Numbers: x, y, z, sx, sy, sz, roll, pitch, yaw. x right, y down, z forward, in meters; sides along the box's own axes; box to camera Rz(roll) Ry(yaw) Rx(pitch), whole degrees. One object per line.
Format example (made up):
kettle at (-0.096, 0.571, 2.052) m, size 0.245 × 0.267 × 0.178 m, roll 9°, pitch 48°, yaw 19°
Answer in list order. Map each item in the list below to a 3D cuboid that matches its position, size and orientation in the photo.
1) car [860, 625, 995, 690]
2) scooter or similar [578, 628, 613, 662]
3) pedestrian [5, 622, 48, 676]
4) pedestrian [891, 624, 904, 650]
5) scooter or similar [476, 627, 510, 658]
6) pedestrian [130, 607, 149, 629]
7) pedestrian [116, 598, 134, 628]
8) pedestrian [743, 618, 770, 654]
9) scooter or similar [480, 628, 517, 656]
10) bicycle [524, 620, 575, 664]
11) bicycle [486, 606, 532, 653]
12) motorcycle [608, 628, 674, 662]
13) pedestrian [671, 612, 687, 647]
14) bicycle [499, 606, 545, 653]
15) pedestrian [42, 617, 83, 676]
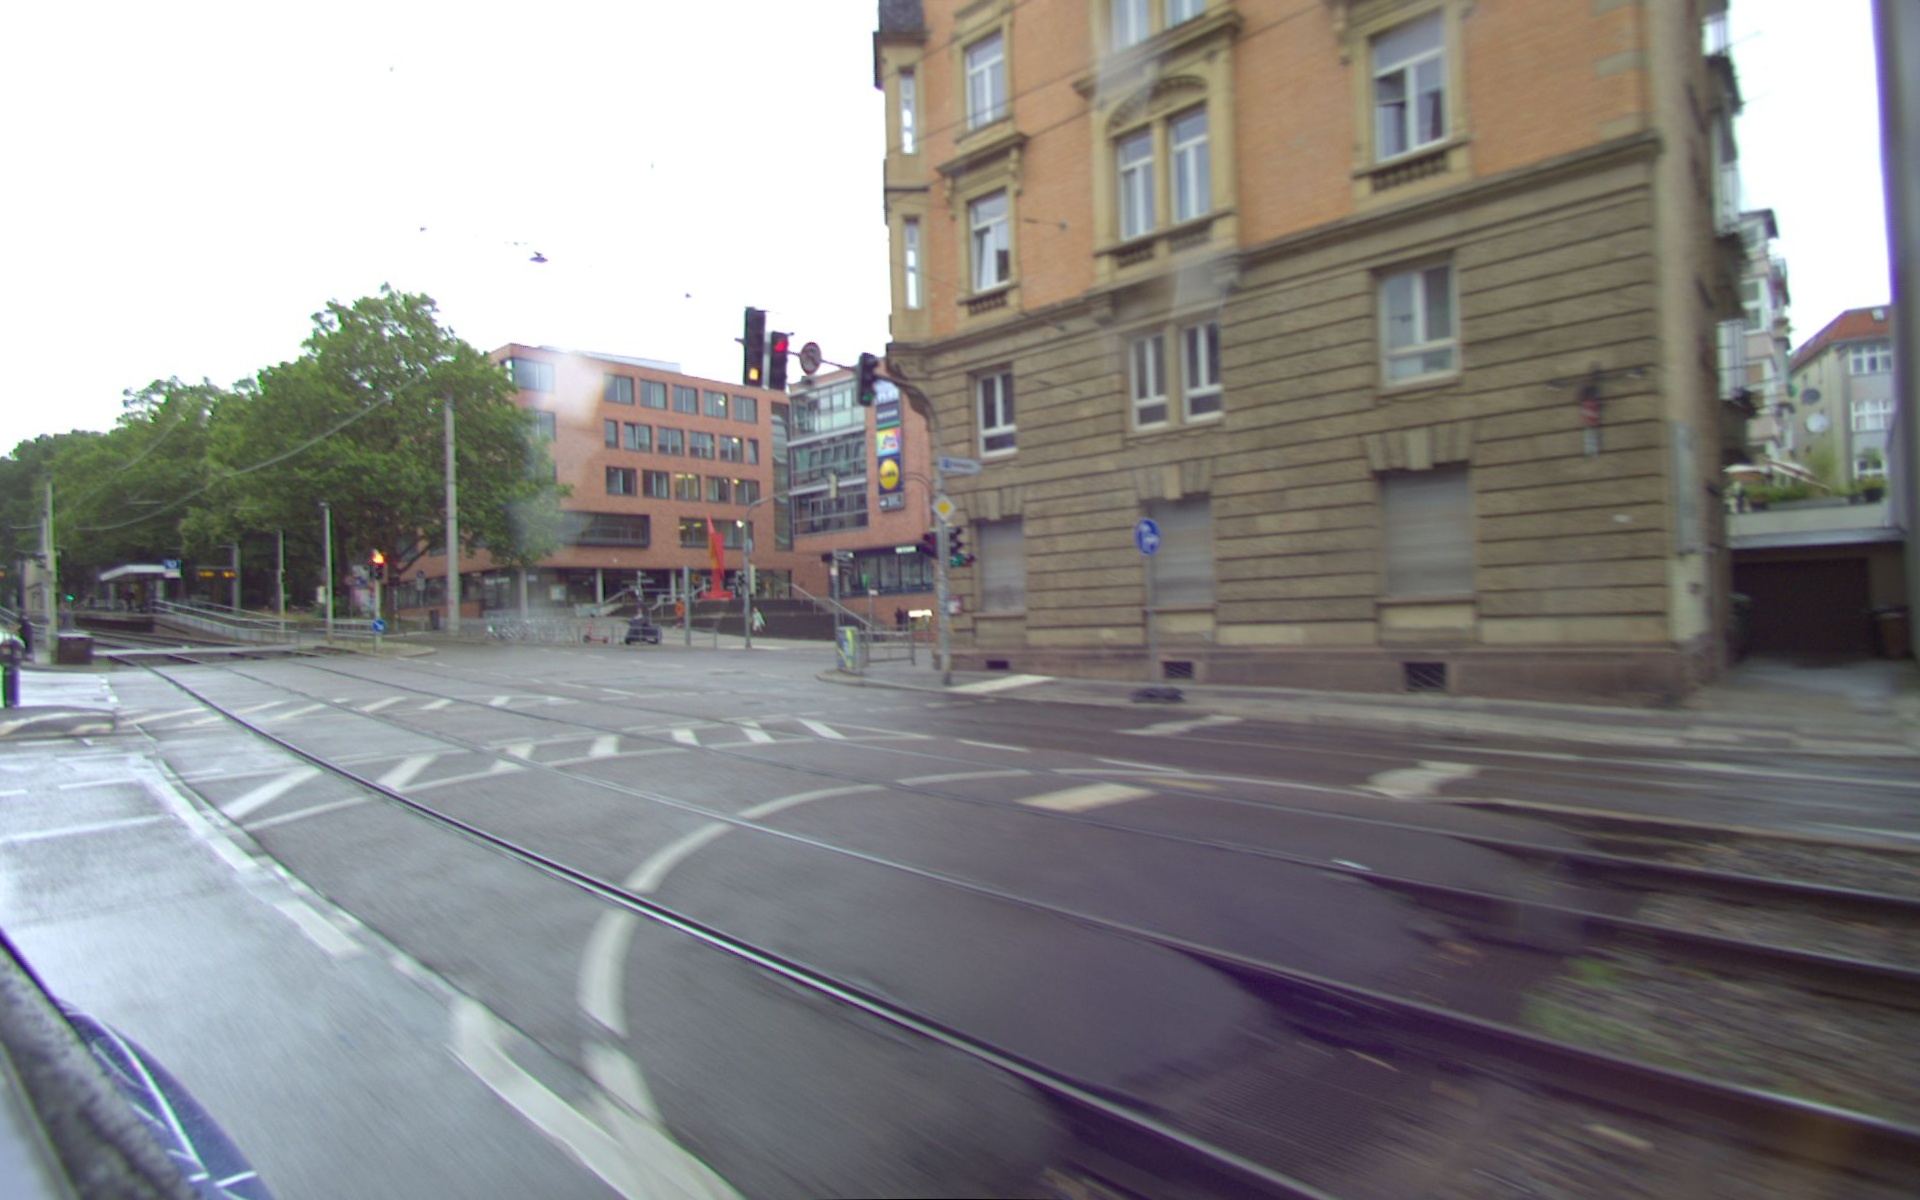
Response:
car at (-0.797, 1.478, 27.178) m, size 1.774 × 1.550 × 3.753 m, roll 0°, pitch -1°, yaw 34°
scooter or similar at (-15.433, 1.887, 42.861) m, size 0.450 × 1.381 × 1.494 m, roll -1°, pitch -1°, yaw 25°
pedestrian at (-28.891, 1.492, 31.320) m, size 1.001 × 1.617 × 0.826 m, roll -1°, pitch -1°, yaw 40°
pedestrian at (-3.837, 2.280, 61.938) m, size 0.591 × 1.578 × 0.513 m, roll -1°, pitch -1°, yaw 40°
scooter or similar at (-21.529, 1.933, 46.693) m, size 0.450 × 1.381 × 1.494 m, roll -1°, pitch -1°, yaw 25°
pedestrian at (-55.077, 1.221, 67.932) m, size 0.883 × 1.494 × 0.772 m, roll -1°, pitch -1°, yaw 38°
pedestrian at (-58.731, 0.920, 71.173) m, size 0.883 × 2.078 × 0.827 m, roll -1°, pitch -1°, yaw 38°
pedestrian at (-10.169, 1.797, 50.649) m, size 1.008 × 1.743 × 0.887 m, roll 0°, pitch -1°, yaw 42°
scooter or similar at (-21.069, 1.904, 46.193) m, size 0.475 × 1.203 × 1.706 m, roll 0°, pitch -1°, yaw 21°
bicycle at (-17.615, 1.777, 43.467) m, size 0.555 × 1.710 × 2.072 m, roll 1°, pitch 2°, yaw 35°
bicycle at (-20.113, 1.284, 45.180) m, size 0.517 × 2.029 × 1.874 m, roll -1°, pitch 0°, yaw 35°
motorcycle at (-13.370, 1.870, 42.489) m, size 0.864 × 1.381 × 2.627 m, roll 0°, pitch -1°, yaw 35°
pedestrian at (-14.746, 1.554, 53.071) m, size 0.780 × 1.757 × 1.072 m, roll 0°, pitch 3°, yaw -14°
bicycle at (-19.292, 1.275, 44.614) m, size 0.517 × 2.029 × 1.874 m, roll -1°, pitch 0°, yaw 35°
pedestrian at (-28.252, 1.457, 31.871) m, size 1.001 × 1.812 × 0.817 m, roll -1°, pitch -1°, yaw 40°
